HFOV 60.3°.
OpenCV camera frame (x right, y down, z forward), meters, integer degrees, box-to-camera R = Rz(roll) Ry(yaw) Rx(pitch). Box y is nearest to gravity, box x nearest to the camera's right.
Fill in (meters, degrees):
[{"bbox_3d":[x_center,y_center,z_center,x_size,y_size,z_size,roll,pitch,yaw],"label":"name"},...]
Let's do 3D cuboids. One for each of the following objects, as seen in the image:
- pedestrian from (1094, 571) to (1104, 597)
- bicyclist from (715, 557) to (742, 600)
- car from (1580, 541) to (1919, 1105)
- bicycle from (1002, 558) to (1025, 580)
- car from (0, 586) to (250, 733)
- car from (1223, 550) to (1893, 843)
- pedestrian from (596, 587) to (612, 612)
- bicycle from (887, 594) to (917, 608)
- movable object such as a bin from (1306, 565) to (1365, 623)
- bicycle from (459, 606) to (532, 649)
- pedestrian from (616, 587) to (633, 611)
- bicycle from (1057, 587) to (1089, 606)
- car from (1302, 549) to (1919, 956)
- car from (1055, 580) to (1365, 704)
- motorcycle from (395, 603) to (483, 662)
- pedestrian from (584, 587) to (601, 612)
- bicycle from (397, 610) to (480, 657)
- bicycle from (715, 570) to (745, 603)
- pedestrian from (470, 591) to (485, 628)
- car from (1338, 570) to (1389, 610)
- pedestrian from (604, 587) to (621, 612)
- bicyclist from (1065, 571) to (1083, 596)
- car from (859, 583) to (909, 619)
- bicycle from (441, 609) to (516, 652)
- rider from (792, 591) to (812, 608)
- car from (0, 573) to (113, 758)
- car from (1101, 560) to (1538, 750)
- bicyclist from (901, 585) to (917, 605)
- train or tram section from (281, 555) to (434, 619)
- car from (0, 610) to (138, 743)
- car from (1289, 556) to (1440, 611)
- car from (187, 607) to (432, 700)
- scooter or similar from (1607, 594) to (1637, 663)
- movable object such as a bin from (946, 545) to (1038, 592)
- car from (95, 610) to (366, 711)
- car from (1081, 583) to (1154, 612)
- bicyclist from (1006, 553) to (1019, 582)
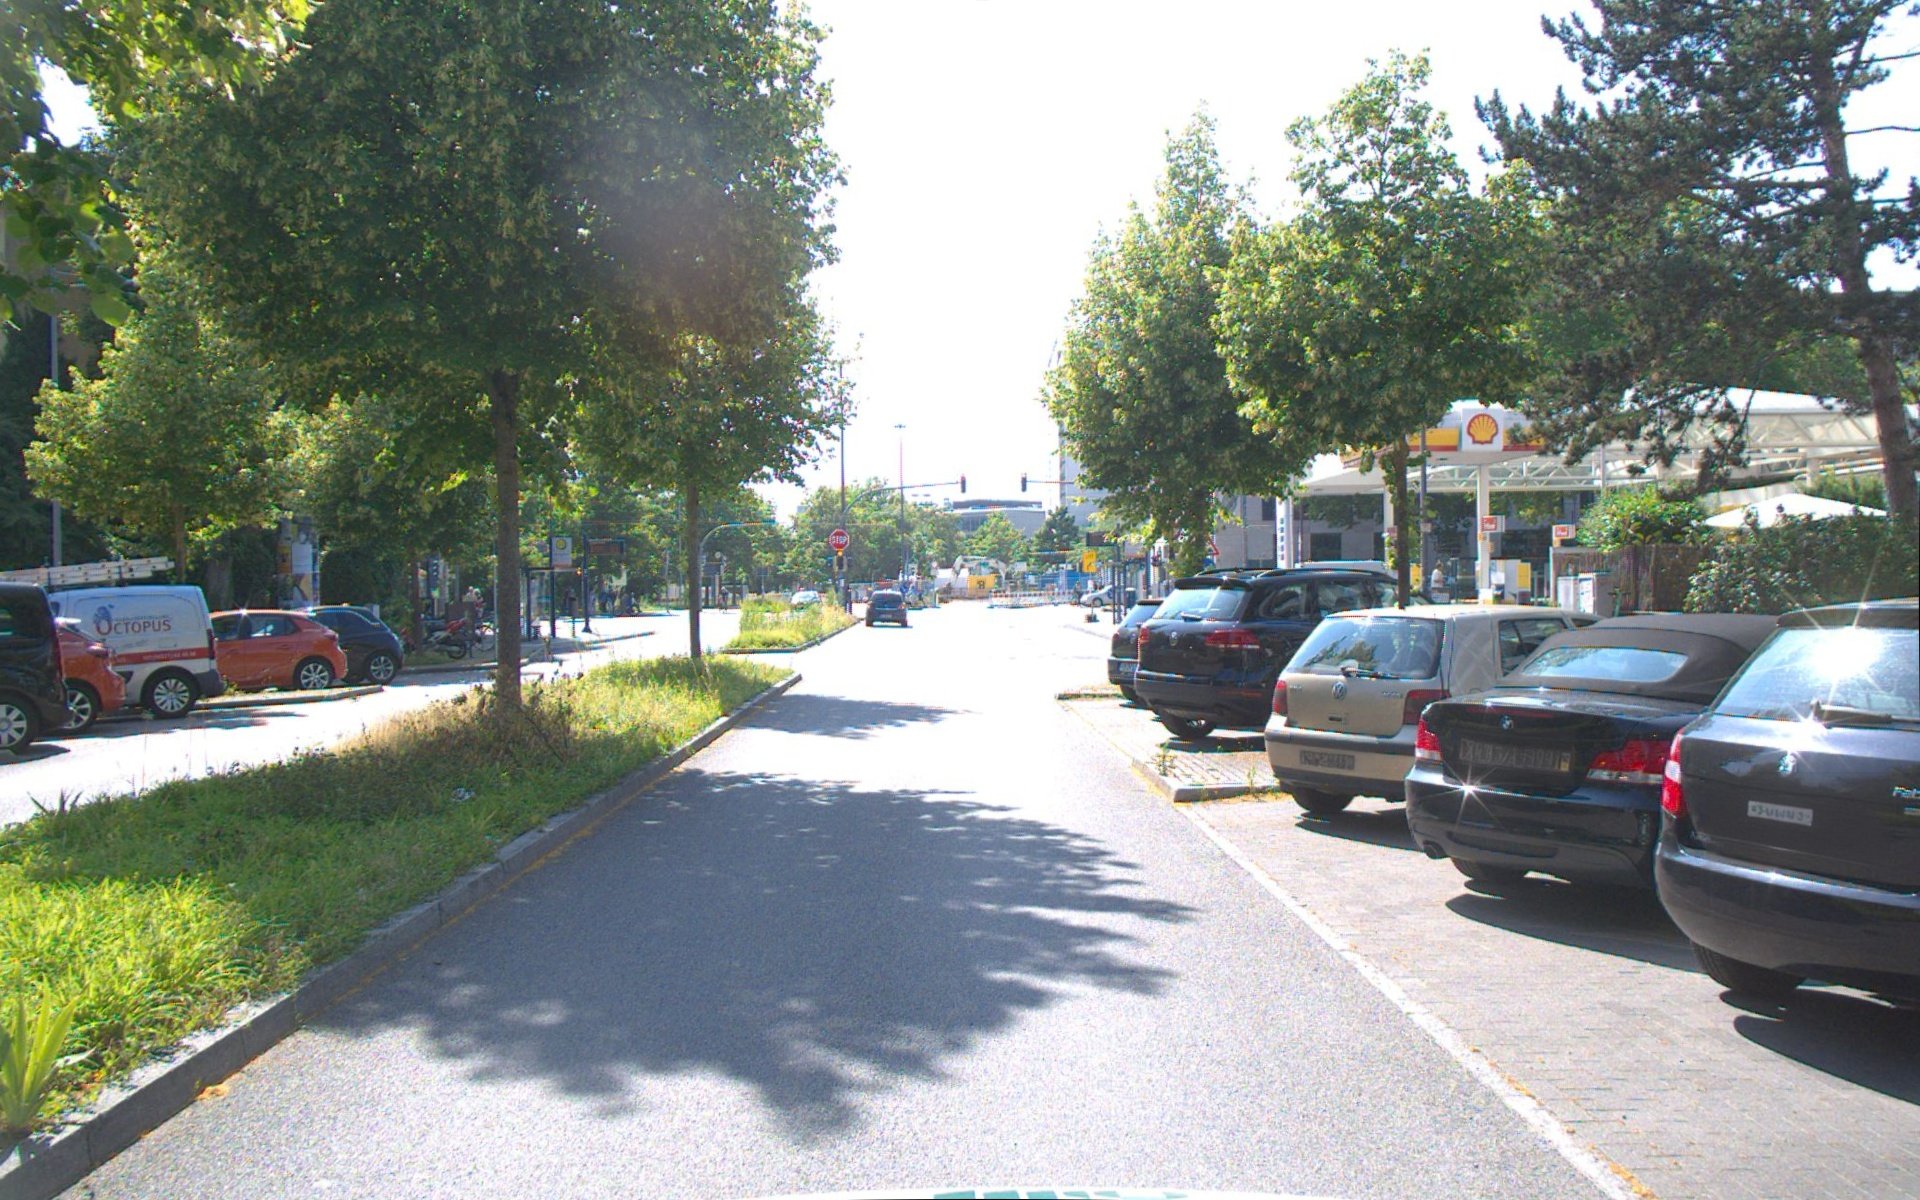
[{"bbox_3d":[9.836,-1.130,117.040,0.519,1.802,0.717,-1,0,-14],"label":"pedestrian"},{"bbox_3d":[-16.210,-1.483,115.937,1.567,2.982,2.353,-1,0,-1],"label":"bicyclist"},{"bbox_3d":[4.486,0.608,6.081,3.929,1.668,1.790,-2,1,-20],"label":"car"},{"bbox_3d":[4.860,-2.845,150.789,2.044,1.996,0.828,-1,0,5],"label":"bicycle"},{"bbox_3d":[-11.677,0.758,22.188,3.727,1.803,1.799,-1,0,-33],"label":"car"},{"bbox_3d":[3.942,0.556,11.121,3.918,1.668,1.747,-1,1,-13],"label":"car"},{"bbox_3d":[-23.946,-0.031,111.214,0.641,1.639,0.942,-1,0,22],"label":"pedestrian"},{"bbox_3d":[-3.920,0.098,111.804,1.962,0.899,0.526,-1,0,-8],"label":"bicycle"},{"bbox_3d":[11.174,-0.188,49.299,1.282,1.619,1.395,-4,1,-4],"label":"movable object such as a bin"},{"bbox_3d":[-12.915,0.764,46.005,1.807,1.142,0.693,-1,0,0],"label":"bicycle"},{"bbox_3d":[-22.664,-0.062,111.787,0.652,1.639,0.942,-1,0,22],"label":"pedestrian"},{"bbox_3d":[7.938,-0.256,116.311,2.181,1.307,0.525,-1,0,7],"label":"bicycle"},{"bbox_3d":[3.888,0.594,8.687,3.943,1.668,1.736,-2,2,-29],"label":"car"},{"bbox_3d":[3.576,0.534,23.501,4.063,1.556,1.979,-1,1,-31],"label":"car"},{"bbox_3d":[-12.011,0.738,38.198,1.810,1.307,0.692,-1,0,-8],"label":"motorcycle"},{"bbox_3d":[-24.711,-0.015,111.226,0.641,1.639,0.942,-1,0,22],"label":"pedestrian"},{"bbox_3d":[-12.966,0.817,41.146,1.807,1.111,0.693,-1,0,0],"label":"bicycle"},{"bbox_3d":[-16.220,-0.946,116.755,1.567,2.308,3.999,-1,0,-1],"label":"bicycle"},{"bbox_3d":[-22.822,0.449,78.217,0.648,1.756,0.749,-2,0,-19],"label":"pedestrian"},{"bbox_3d":[15.314,-0.388,62.902,1.615,1.422,3.645,-1,0,9],"label":"car"},{"bbox_3d":[-23.216,-0.041,110.478,0.641,1.639,0.942,-1,0,22],"label":"pedestrian"},{"bbox_3d":[8.001,-1.176,116.293,1.213,1.702,0.525,-1,0,7],"label":"bicyclist"},{"bbox_3d":[-3.179,0.012,68.901,1.954,1.422,3.997,-1,1,-4],"label":"car"},{"bbox_3d":[-13.011,0.818,44.737,1.807,1.125,0.693,-1,0,0],"label":"bicycle"},{"bbox_3d":[-11.825,-0.014,123.879,1.364,1.216,2.696,-1,1,-3],"label":"rider"},{"bbox_3d":[-11.155,0.720,16.860,4.148,1.848,1.976,-3,2,-39],"label":"car"},{"bbox_3d":[3.817,0.471,17.181,4.691,1.689,1.731,-2,1,-35],"label":"car"},{"bbox_3d":[-3.468,-0.337,111.882,1.032,1.297,0.491,-1,0,-8],"label":"bicyclist"},{"bbox_3d":[-33.950,-0.718,93.426,7.404,3.390,3.118,-1,0,-3],"label":"train or tram section"},{"bbox_3d":[-11.891,0.928,19.524,3.727,1.452,1.835,-3,2,-33],"label":"car"},{"bbox_3d":[21.579,-0.923,88.427,7.283,2.721,2.900,-2,1,-4],"label":"car"},{"bbox_3d":[-11.847,0.939,30.230,3.742,1.448,1.828,-3,0,-42],"label":"car"},{"bbox_3d":[11.597,0.490,28.969,0.226,1.186,0.958,-1,1,6],"label":"scooter or similar"},{"bbox_3d":[3.307,-3.278,171.897,9.476,4.629,3.164,-1,1,1],"label":"movable object such as a bin"},{"bbox_3d":[-11.970,0.942,27.227,3.802,1.448,1.693,-2,0,-37],"label":"car"},{"bbox_3d":[9.857,-0.171,103.808,4.295,1.667,1.998,-2,0,-5],"label":"car"},{"bbox_3d":[4.784,-2.981,150.808,1.047,2.619,0.828,-1,0,5],"label":"bicyclist"}]
